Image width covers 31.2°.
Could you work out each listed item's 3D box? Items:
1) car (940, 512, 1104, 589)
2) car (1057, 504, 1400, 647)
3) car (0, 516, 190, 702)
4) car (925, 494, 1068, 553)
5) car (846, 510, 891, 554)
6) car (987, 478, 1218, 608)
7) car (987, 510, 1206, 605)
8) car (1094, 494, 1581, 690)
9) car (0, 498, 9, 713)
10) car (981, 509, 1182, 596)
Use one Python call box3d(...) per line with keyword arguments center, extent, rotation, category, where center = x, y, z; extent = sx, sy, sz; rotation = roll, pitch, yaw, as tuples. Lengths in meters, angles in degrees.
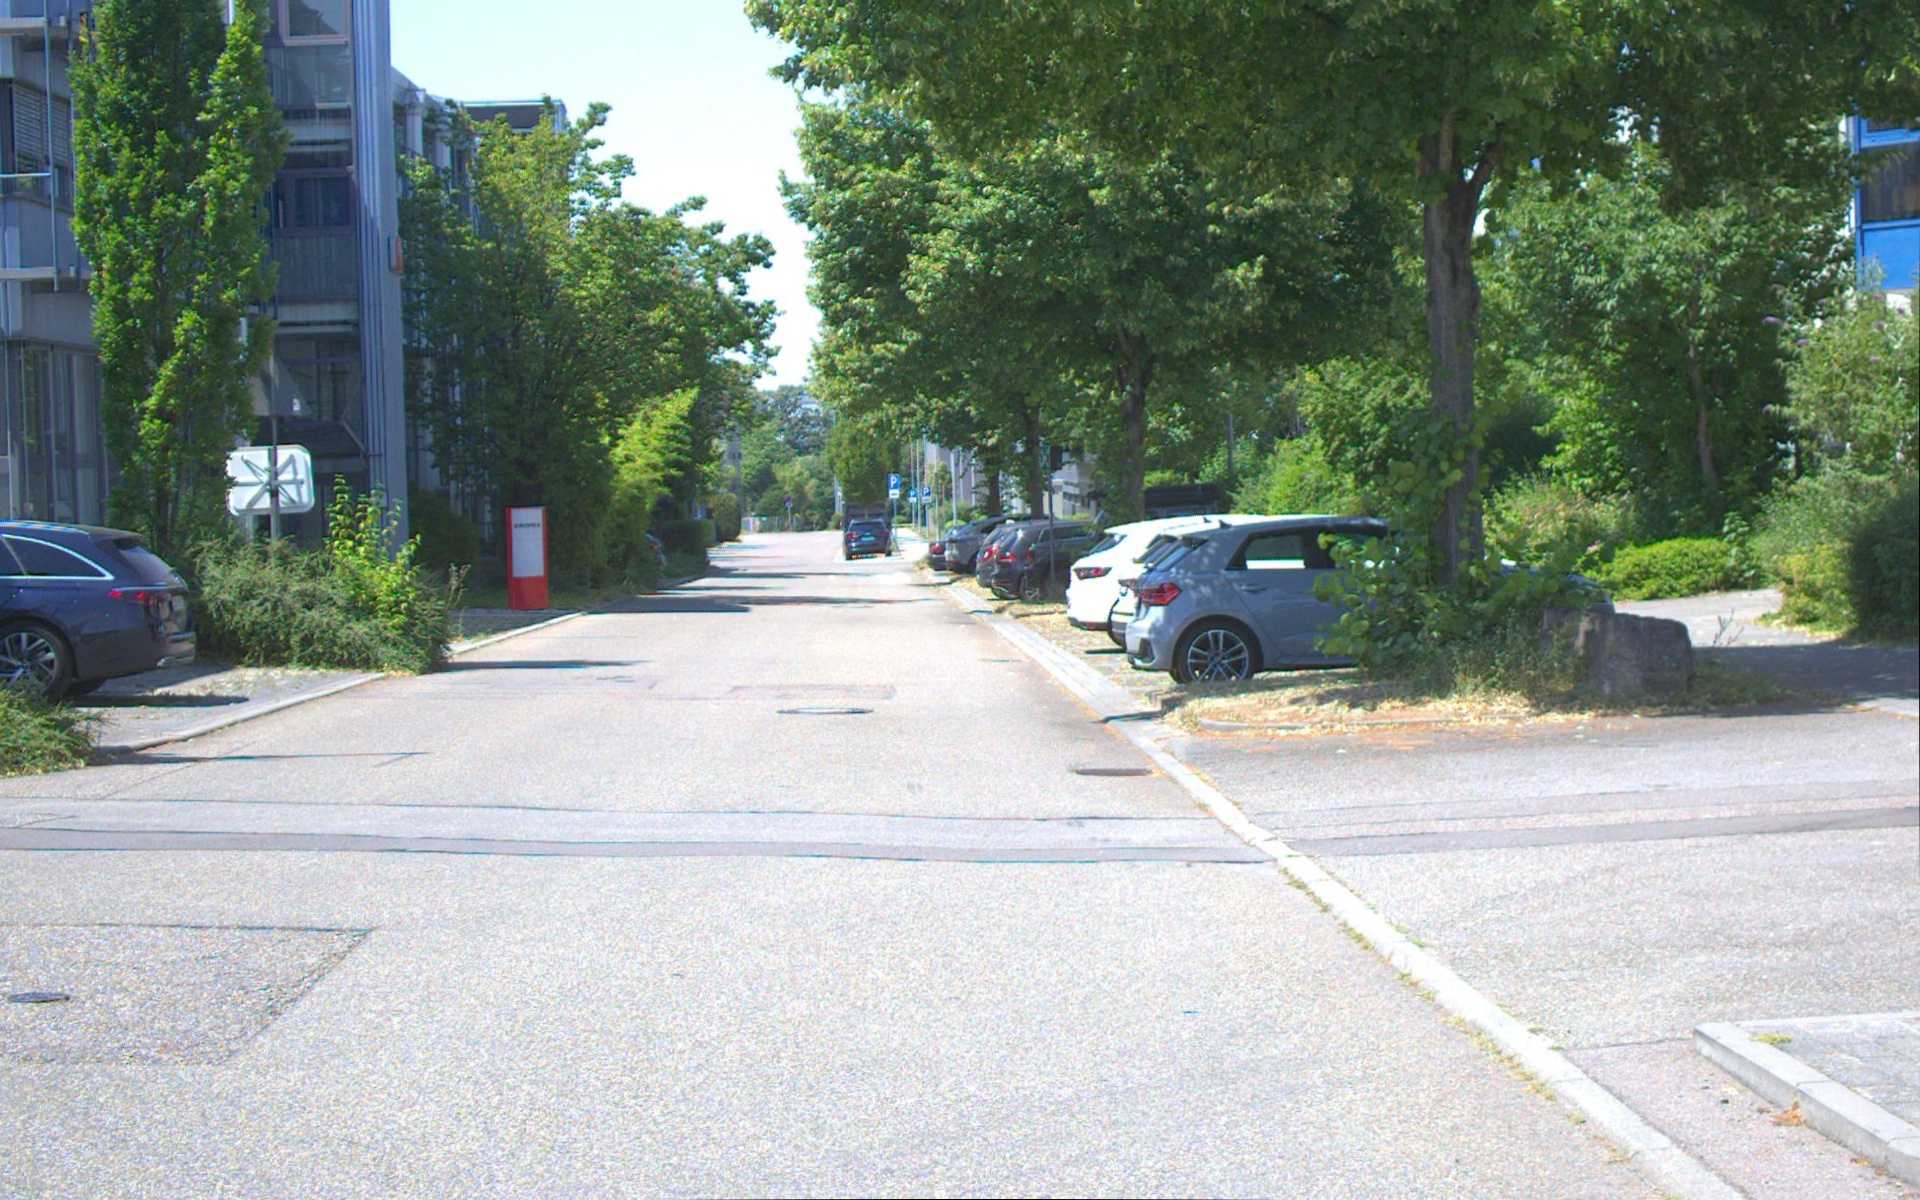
box3d(center=(1.570, -1.280, 87.950), extent=(3.931, 1.828, 1.768), rotation=(-1, 5, -9), category="car")
box3d(center=(2.952, -0.282, 38.177), extent=(3.516, 1.350, 1.538), rotation=(-4, 1, -5), category="car")
box3d(center=(-7.863, 0.057, 27.883), extent=(3.057, 1.473, 1.293), rotation=(0, 1, -8), category="car")
box3d(center=(1.062, -2.246, 100.111), extent=(3.931, 1.572, 1.768), rotation=(-1, 5, -9), category="car")
box3d(center=(-3.702, -2.757, 139.245), extent=(1.761, 1.749, 3.945), rotation=(0, 1, -1), category="car")
box3d(center=(2.338, -0.943, 57.082), extent=(3.721, 2.103, 1.814), rotation=(0, 1, -1), category="car")
box3d(center=(2.363, -0.752, 60.170), extent=(3.721, 1.621, 1.814), rotation=(0, 1, -1), category="car")
box3d(center=(3.084, -0.086, 28.482), extent=(3.678, 1.350, 1.646), rotation=(-4, 1, -5), category="car")
box3d(center=(-8.633, 0.067, 23.091), extent=(4.045, 1.489, 1.729), rotation=(0, 1, -4), category="car")
box3d(center=(2.305, -0.923, 65.878), extent=(3.721, 1.621, 1.814), rotation=(0, 1, -1), category="car")
